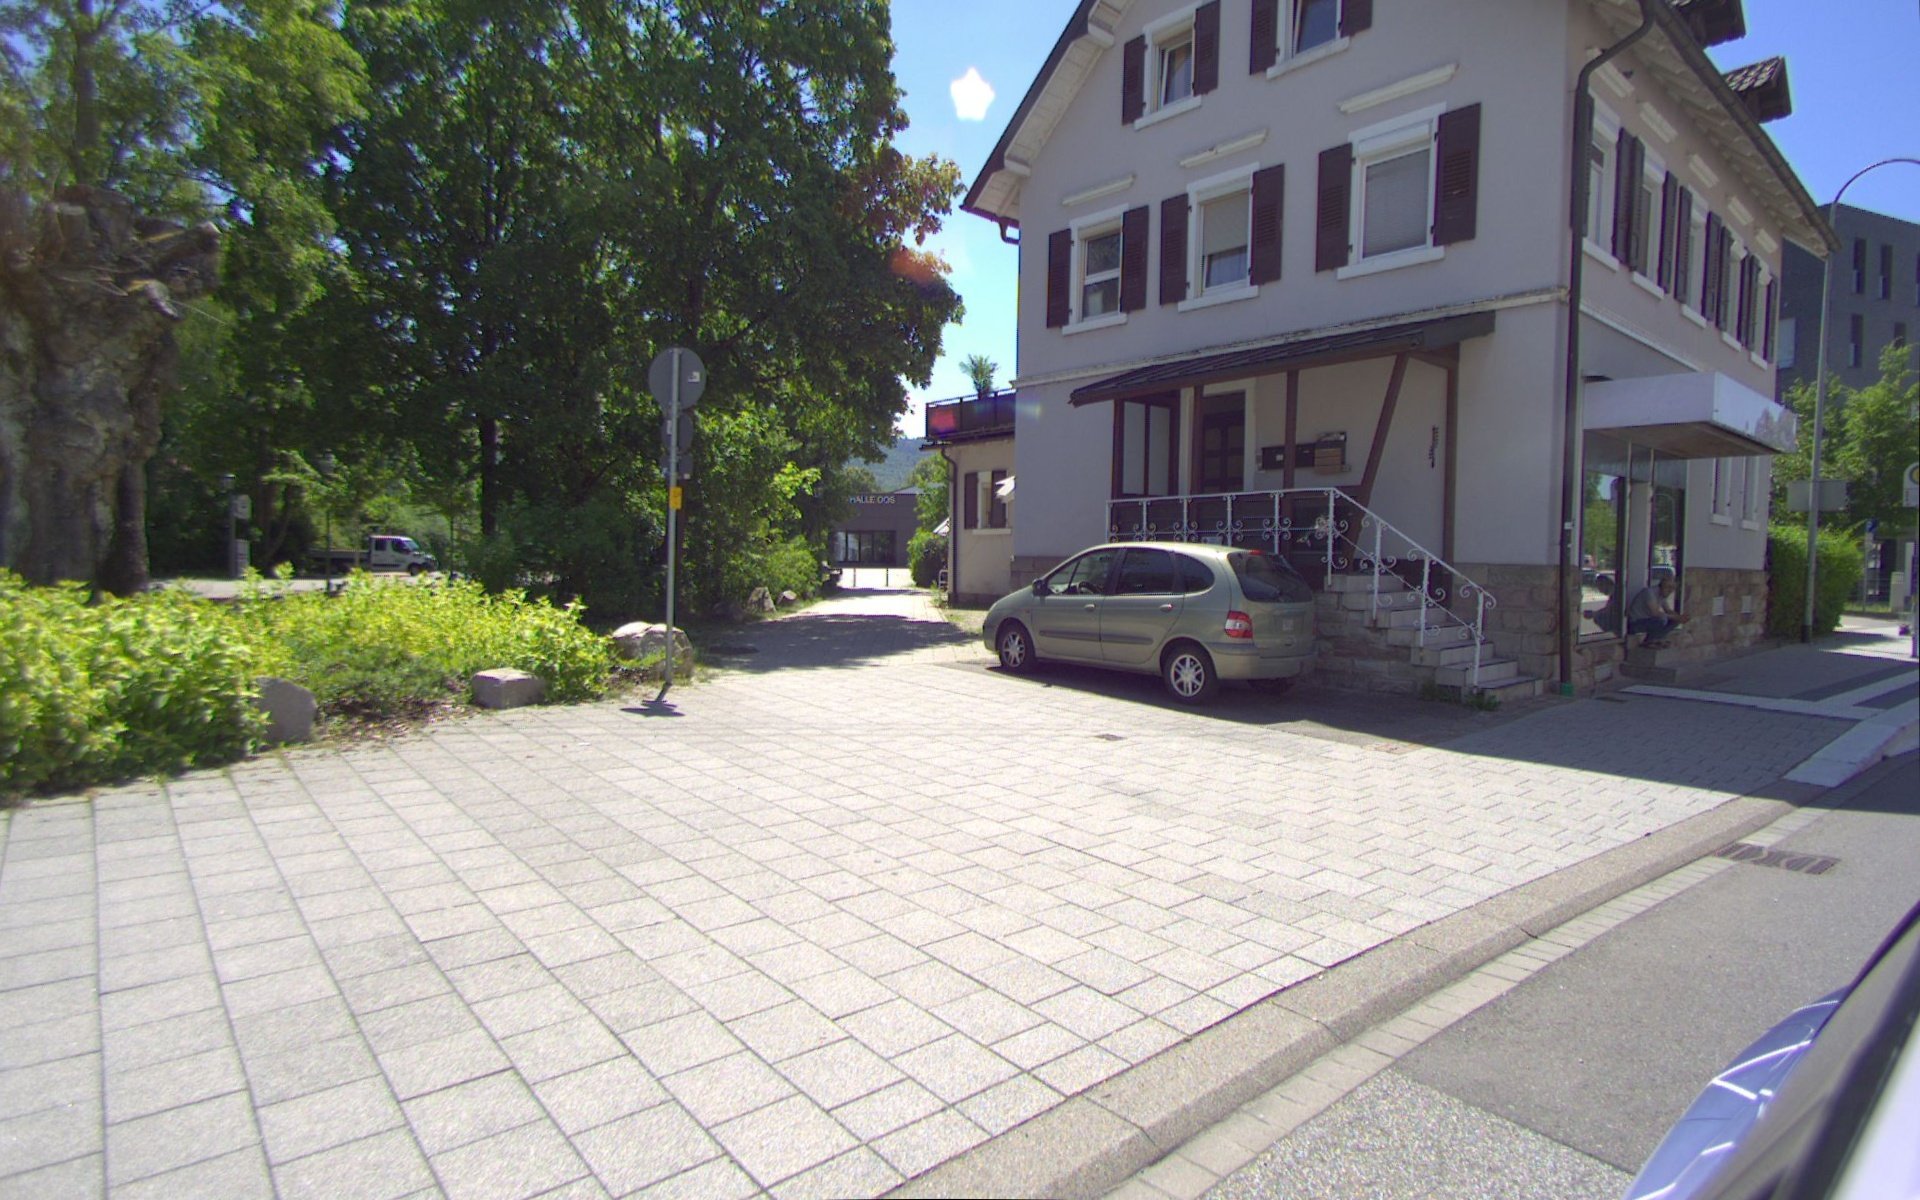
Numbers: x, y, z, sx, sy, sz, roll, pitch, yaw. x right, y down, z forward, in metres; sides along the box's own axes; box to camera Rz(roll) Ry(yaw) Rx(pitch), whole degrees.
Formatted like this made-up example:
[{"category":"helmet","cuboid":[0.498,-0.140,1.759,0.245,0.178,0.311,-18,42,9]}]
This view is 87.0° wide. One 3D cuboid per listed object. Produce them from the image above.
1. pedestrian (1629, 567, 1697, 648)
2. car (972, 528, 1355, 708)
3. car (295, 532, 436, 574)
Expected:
[{"category":"pedestrian","cuboid":[9.364,0.082,13.480,0.590,1.011,0.712,4,4,44]},{"category":"car","cuboid":[2.131,0.043,11.582,1.770,1.614,4.072,-1,5,-39]},{"category":"car","cuboid":[-34.110,-2.700,58.284,6.624,2.266,2.199,0,2,-11]}]
